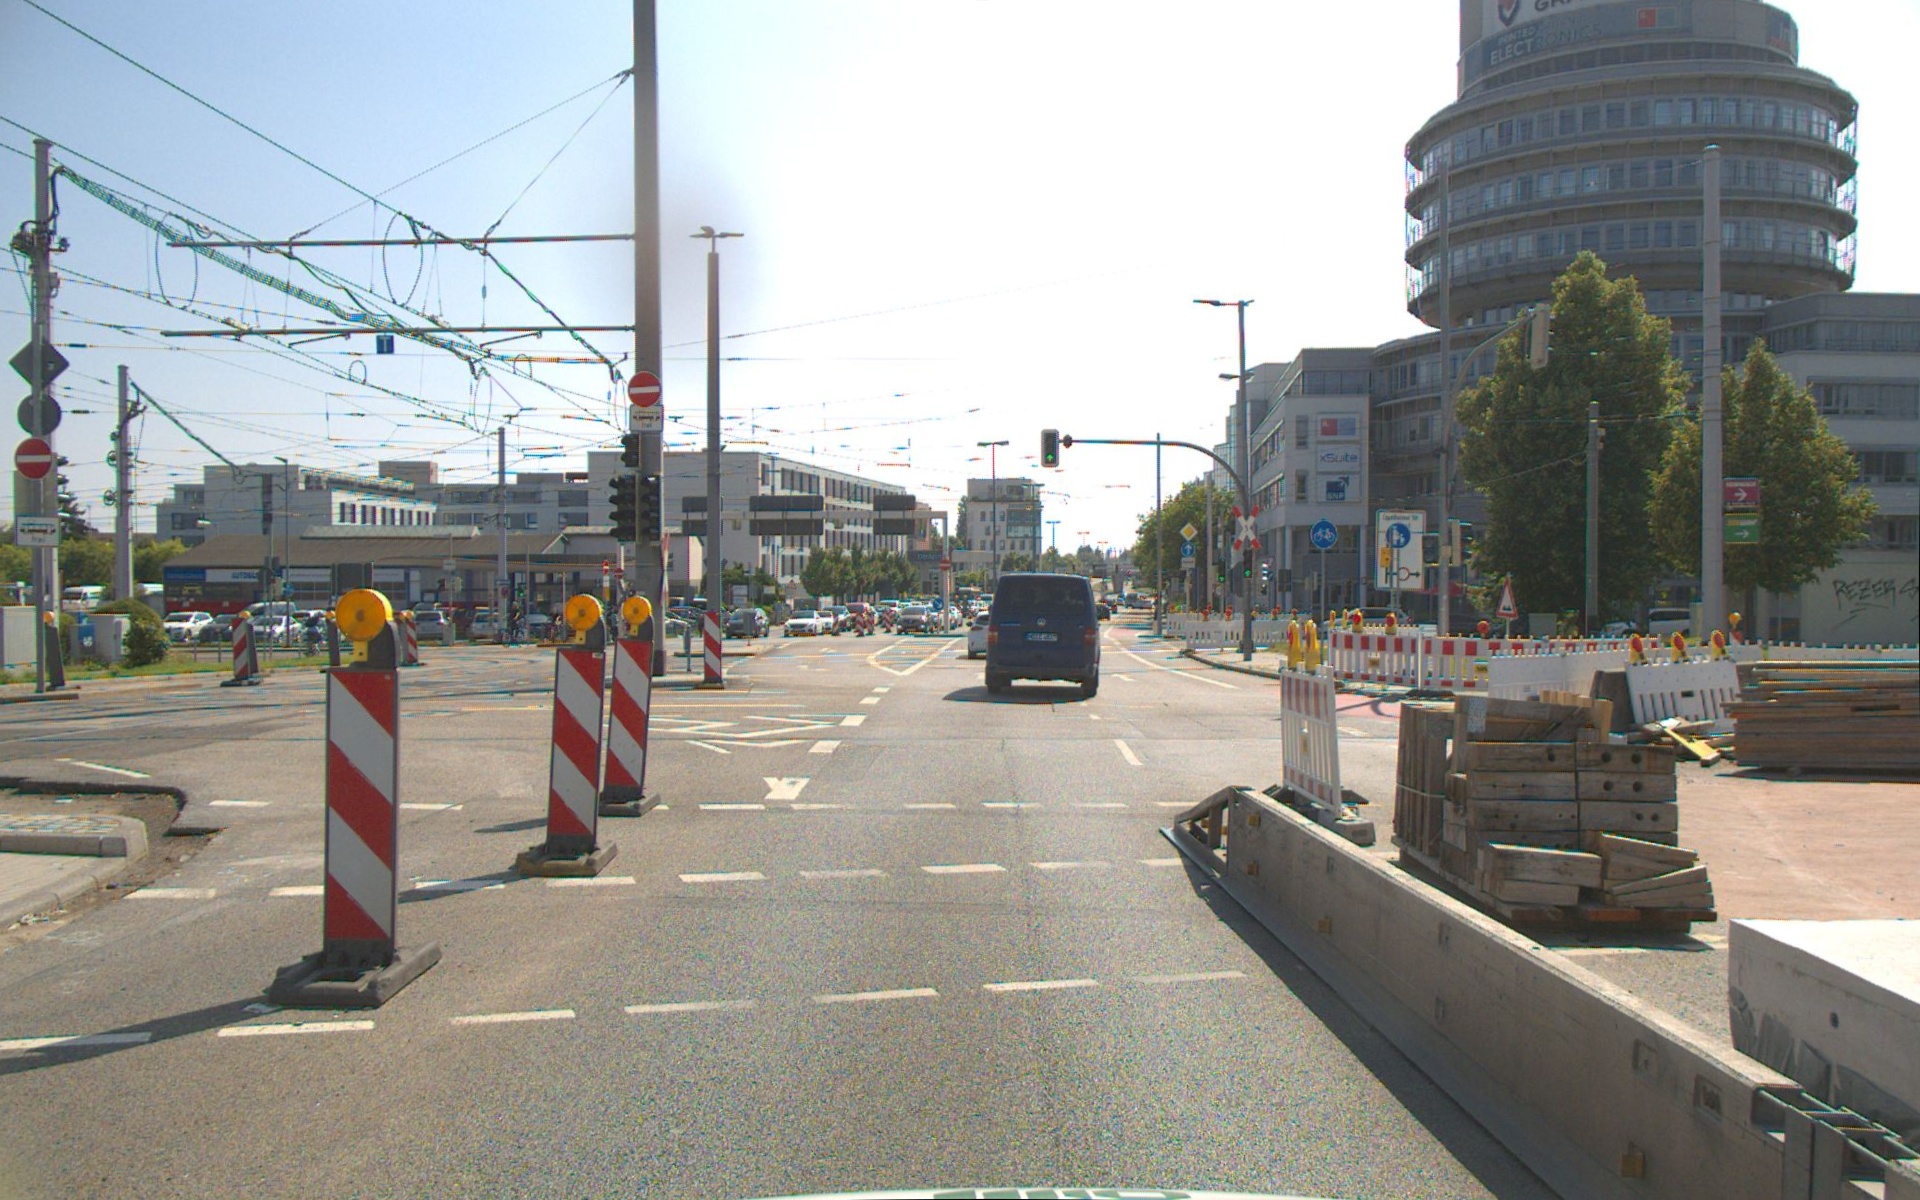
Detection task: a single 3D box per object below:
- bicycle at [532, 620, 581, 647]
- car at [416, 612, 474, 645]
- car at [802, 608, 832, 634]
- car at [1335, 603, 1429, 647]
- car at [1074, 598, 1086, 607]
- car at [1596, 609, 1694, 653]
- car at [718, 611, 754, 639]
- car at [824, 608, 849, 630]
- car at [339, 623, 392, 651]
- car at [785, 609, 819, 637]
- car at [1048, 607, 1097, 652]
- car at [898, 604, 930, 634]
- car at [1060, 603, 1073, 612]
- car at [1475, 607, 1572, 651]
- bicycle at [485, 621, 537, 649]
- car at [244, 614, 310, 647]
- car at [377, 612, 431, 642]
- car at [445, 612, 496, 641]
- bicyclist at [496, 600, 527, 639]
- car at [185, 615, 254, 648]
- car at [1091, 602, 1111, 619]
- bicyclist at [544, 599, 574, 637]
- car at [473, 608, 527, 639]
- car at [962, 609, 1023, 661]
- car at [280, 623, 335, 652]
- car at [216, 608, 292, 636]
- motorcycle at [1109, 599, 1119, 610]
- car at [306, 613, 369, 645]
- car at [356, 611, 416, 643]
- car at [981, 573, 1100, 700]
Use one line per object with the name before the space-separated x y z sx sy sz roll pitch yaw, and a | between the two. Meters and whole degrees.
bicycle | -17.801 1.467 73.016 0.862 1.088 2.809 4 0 13
car | -26.600 1.445 85.540 1.741 1.565 3.999 -2 0 -1
car | -8.661 1.241 100.408 1.712 1.512 3.998 0 0 -3
car | 18.881 1.107 74.053 3.736 1.829 1.681 1 1 -2
car | 18.307 0.410 252.868 1.517 1.363 3.014 1 0 -3
car | 31.034 1.389 75.015 3.736 1.829 1.681 1 1 -2
car | -12.710 1.403 93.967 1.712 1.512 3.998 0 0 -3
car | -8.997 1.378 121.046 1.712 1.512 3.998 0 0 -3
car | -35.687 2.213 99.412 1.741 1.565 3.999 -2 0 -1
car | -8.968 1.292 93.919 1.712 1.507 3.998 0 0 -3
car | 4.503 1.161 66.539 1.650 1.634 3.616 1 1 -1
car | -2.586 1.037 91.888 1.712 1.557 3.998 0 0 -3
car | 15.302 1.062 236.984 1.517 1.363 3.014 1 0 -3
car | 25.390 1.304 74.573 3.736 1.829 1.681 1 1 -2
bicycle | -19.252 1.489 70.926 0.862 1.088 2.809 4 0 13
car | -35.410 1.553 85.808 1.741 1.565 3.999 -2 0 -1
car | -31.672 1.516 94.368 1.741 1.565 3.999 -1 0 -1
car | -27.906 1.490 94.369 1.741 1.565 3.999 1 0 -1
bicyclist | -19.221 0.821 70.881 0.857 1.606 0.970 4 0 13
car | -38.265 1.622 85.571 1.741 1.565 3.999 -2 0 -1
car | 12.588 0.942 147.204 1.707 1.501 3.887 0 0 6
bicyclist | -17.726 0.801 73.126 0.857 1.606 0.970 4 0 13
car | -24.150 1.238 86.962 1.741 1.565 3.999 0 0 -1
car | 0.989 1.077 52.520 1.790 1.512 3.901 1 0 -1
car | -38.939 2.209 98.789 1.741 1.565 3.999 -2 0 -1
car | -43.673 1.328 102.305 3.969 1.565 1.754 -2 0 -44
motorcycle | 18.296 0.492 196.739 1.137 1.264 3.009 0 0 6
car | -32.393 1.489 86.202 1.741 1.565 3.999 -2 0 -1
car | -29.813 1.391 85.981 1.741 1.565 3.999 -2 0 -1
car | 1.335 0.541 28.322 1.849 1.968 4.001 1 1 1
